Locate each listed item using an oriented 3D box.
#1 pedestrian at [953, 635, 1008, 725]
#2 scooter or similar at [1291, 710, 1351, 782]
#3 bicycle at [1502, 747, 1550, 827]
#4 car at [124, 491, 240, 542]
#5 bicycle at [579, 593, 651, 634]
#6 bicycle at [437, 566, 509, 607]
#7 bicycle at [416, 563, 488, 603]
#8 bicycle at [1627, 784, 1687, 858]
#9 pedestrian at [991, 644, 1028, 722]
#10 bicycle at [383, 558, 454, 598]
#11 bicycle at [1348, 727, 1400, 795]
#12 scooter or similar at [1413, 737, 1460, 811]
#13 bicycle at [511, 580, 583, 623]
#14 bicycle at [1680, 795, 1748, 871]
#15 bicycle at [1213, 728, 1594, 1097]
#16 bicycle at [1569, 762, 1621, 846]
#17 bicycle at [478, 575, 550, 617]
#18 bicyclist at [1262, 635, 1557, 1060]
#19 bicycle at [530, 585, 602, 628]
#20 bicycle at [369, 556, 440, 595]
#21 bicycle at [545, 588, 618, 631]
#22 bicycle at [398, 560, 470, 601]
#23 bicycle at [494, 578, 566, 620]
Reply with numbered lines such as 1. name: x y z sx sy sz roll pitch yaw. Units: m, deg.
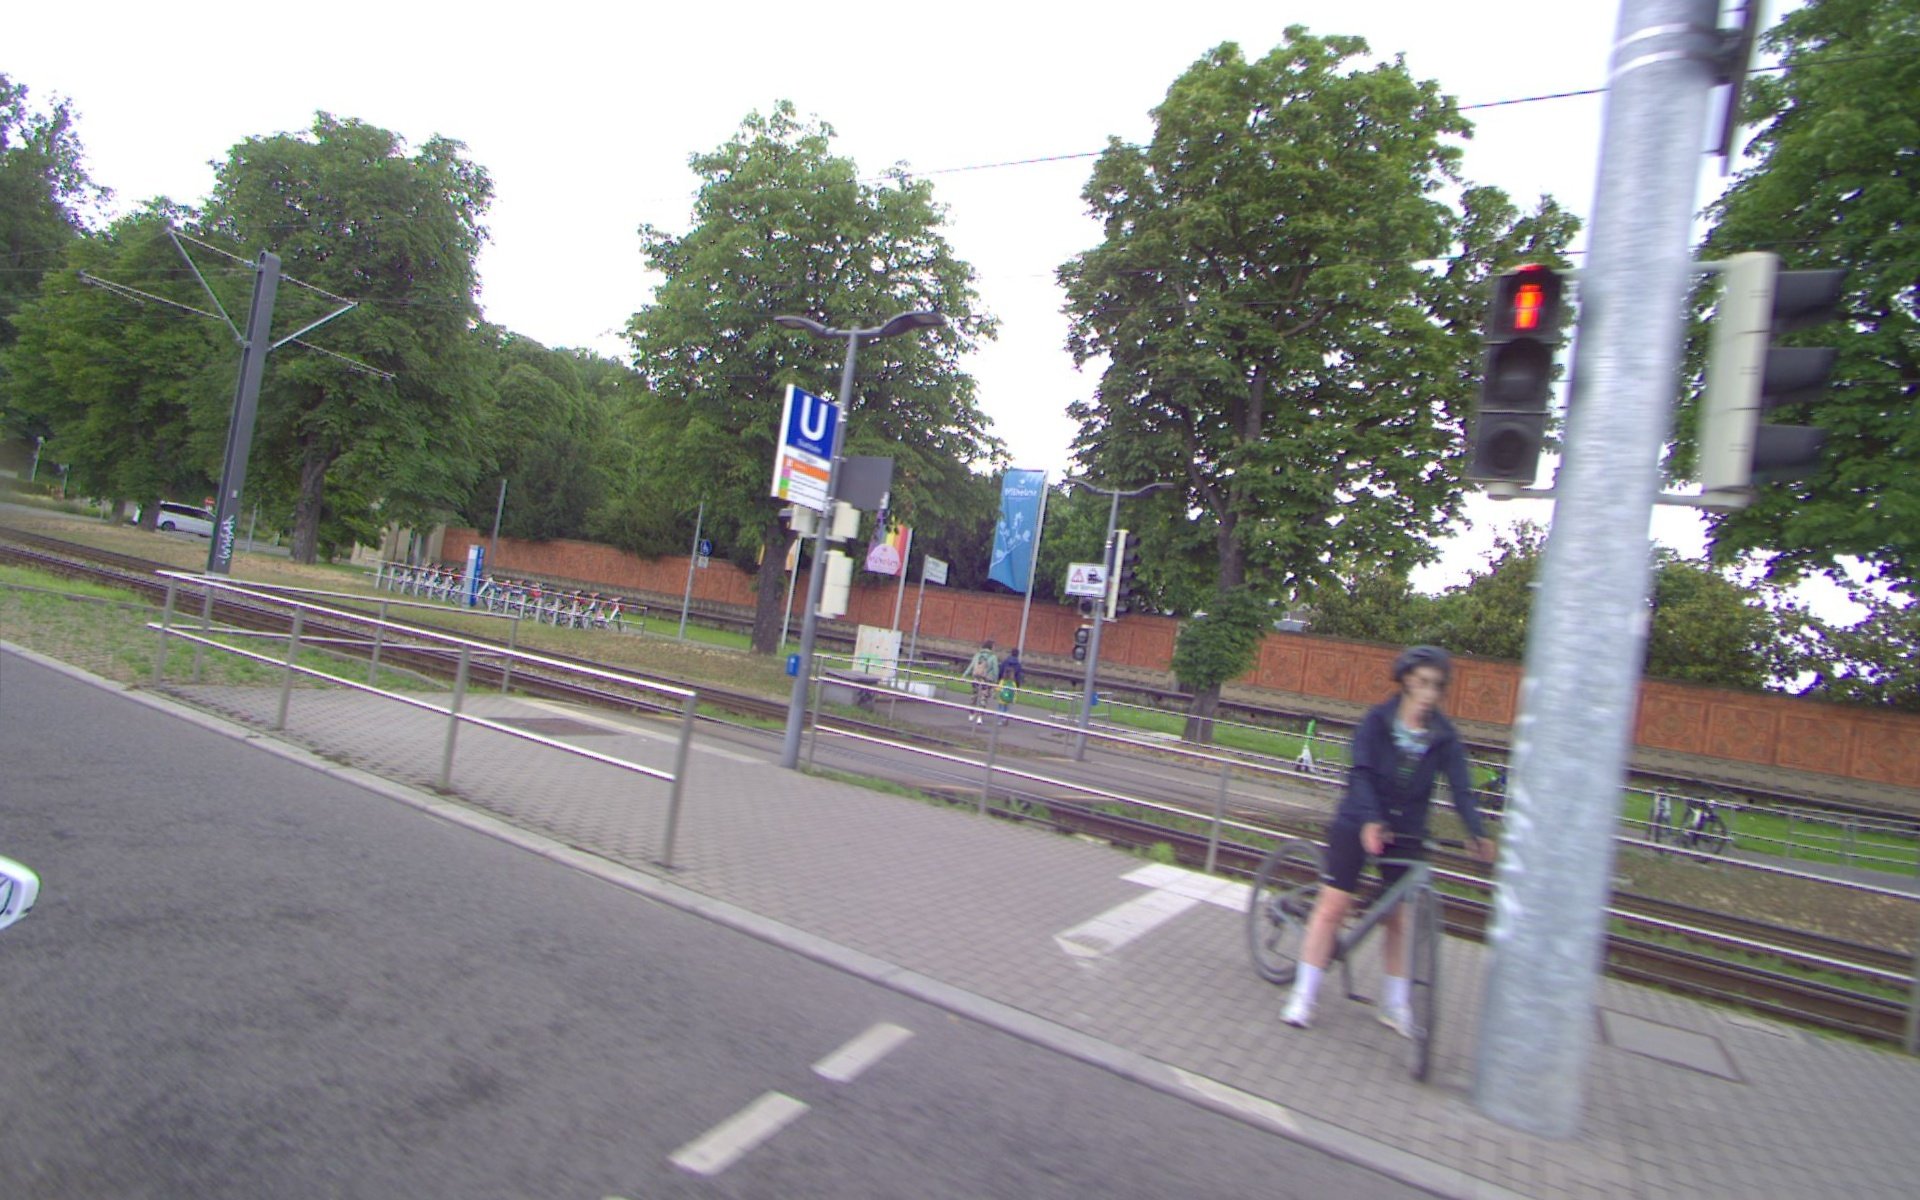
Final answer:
1. pedestrian: 0.418 1.567 19.812 0.763 1.627 0.836 8 -1 9
2. scooter or similar: 6.712 2.716 18.678 1.158 1.150 0.330 13 -5 -35
3. bicycle: 9.359 3.089 16.602 0.524 1.150 1.880 7 -5 31
4. car: -49.033 -5.229 63.553 2.167 2.034 5.160 8 -4 22
5. bicycle: -9.671 0.402 28.272 0.522 0.905 1.917 8 -2 31
6. bicycle: -15.162 -0.409 31.368 0.522 0.986 1.917 8 -2 31
7. bicycle: -15.938 -0.517 31.617 0.522 0.986 1.917 8 -2 31
8. bicycle: 10.769 3.399 15.588 0.524 0.972 1.880 7 -5 31
9. pedestrian: 1.021 1.698 20.742 0.506 1.519 0.499 8 -1 9
10. bicycle: -17.412 -0.701 32.408 0.522 0.986 1.917 8 -2 31
11. bicycle: 7.253 2.834 17.571 0.475 1.043 1.770 7 -5 31
12. scooter or similar: 8.133 2.979 17.142 0.328 1.150 1.277 7 -5 38
13. bicycle: -12.058 0.058 29.414 0.522 0.986 1.917 8 -2 31
14. bicycle: 11.383 3.490 15.236 0.524 0.972 1.880 7 -5 31
15. bicycle: 1.838 1.252 4.500 0.610 1.086 1.682 10 -2 -8
16. bicycle: 10.050 3.222 15.958 0.524 1.150 1.880 7 -5 31
17. bicycle: -13.351 -0.119 30.148 0.522 0.986 1.917 8 -2 31
18. bicyclist: 1.900 0.997 4.368 0.608 1.589 0.805 10 -1 -8
19. bicycle: -11.298 0.204 28.905 0.522 0.986 1.917 8 -2 31
20. bicycle: -18.162 -0.792 32.918 0.522 0.986 1.917 8 -2 31
21. bicycle: -10.733 0.281 28.618 0.522 0.986 1.917 8 -2 31
22. bicycle: -16.631 -0.610 31.841 0.522 0.986 1.917 8 -2 31
23. bicycle: -12.693 -0.022 29.762 0.522 0.986 1.917 8 -2 31
